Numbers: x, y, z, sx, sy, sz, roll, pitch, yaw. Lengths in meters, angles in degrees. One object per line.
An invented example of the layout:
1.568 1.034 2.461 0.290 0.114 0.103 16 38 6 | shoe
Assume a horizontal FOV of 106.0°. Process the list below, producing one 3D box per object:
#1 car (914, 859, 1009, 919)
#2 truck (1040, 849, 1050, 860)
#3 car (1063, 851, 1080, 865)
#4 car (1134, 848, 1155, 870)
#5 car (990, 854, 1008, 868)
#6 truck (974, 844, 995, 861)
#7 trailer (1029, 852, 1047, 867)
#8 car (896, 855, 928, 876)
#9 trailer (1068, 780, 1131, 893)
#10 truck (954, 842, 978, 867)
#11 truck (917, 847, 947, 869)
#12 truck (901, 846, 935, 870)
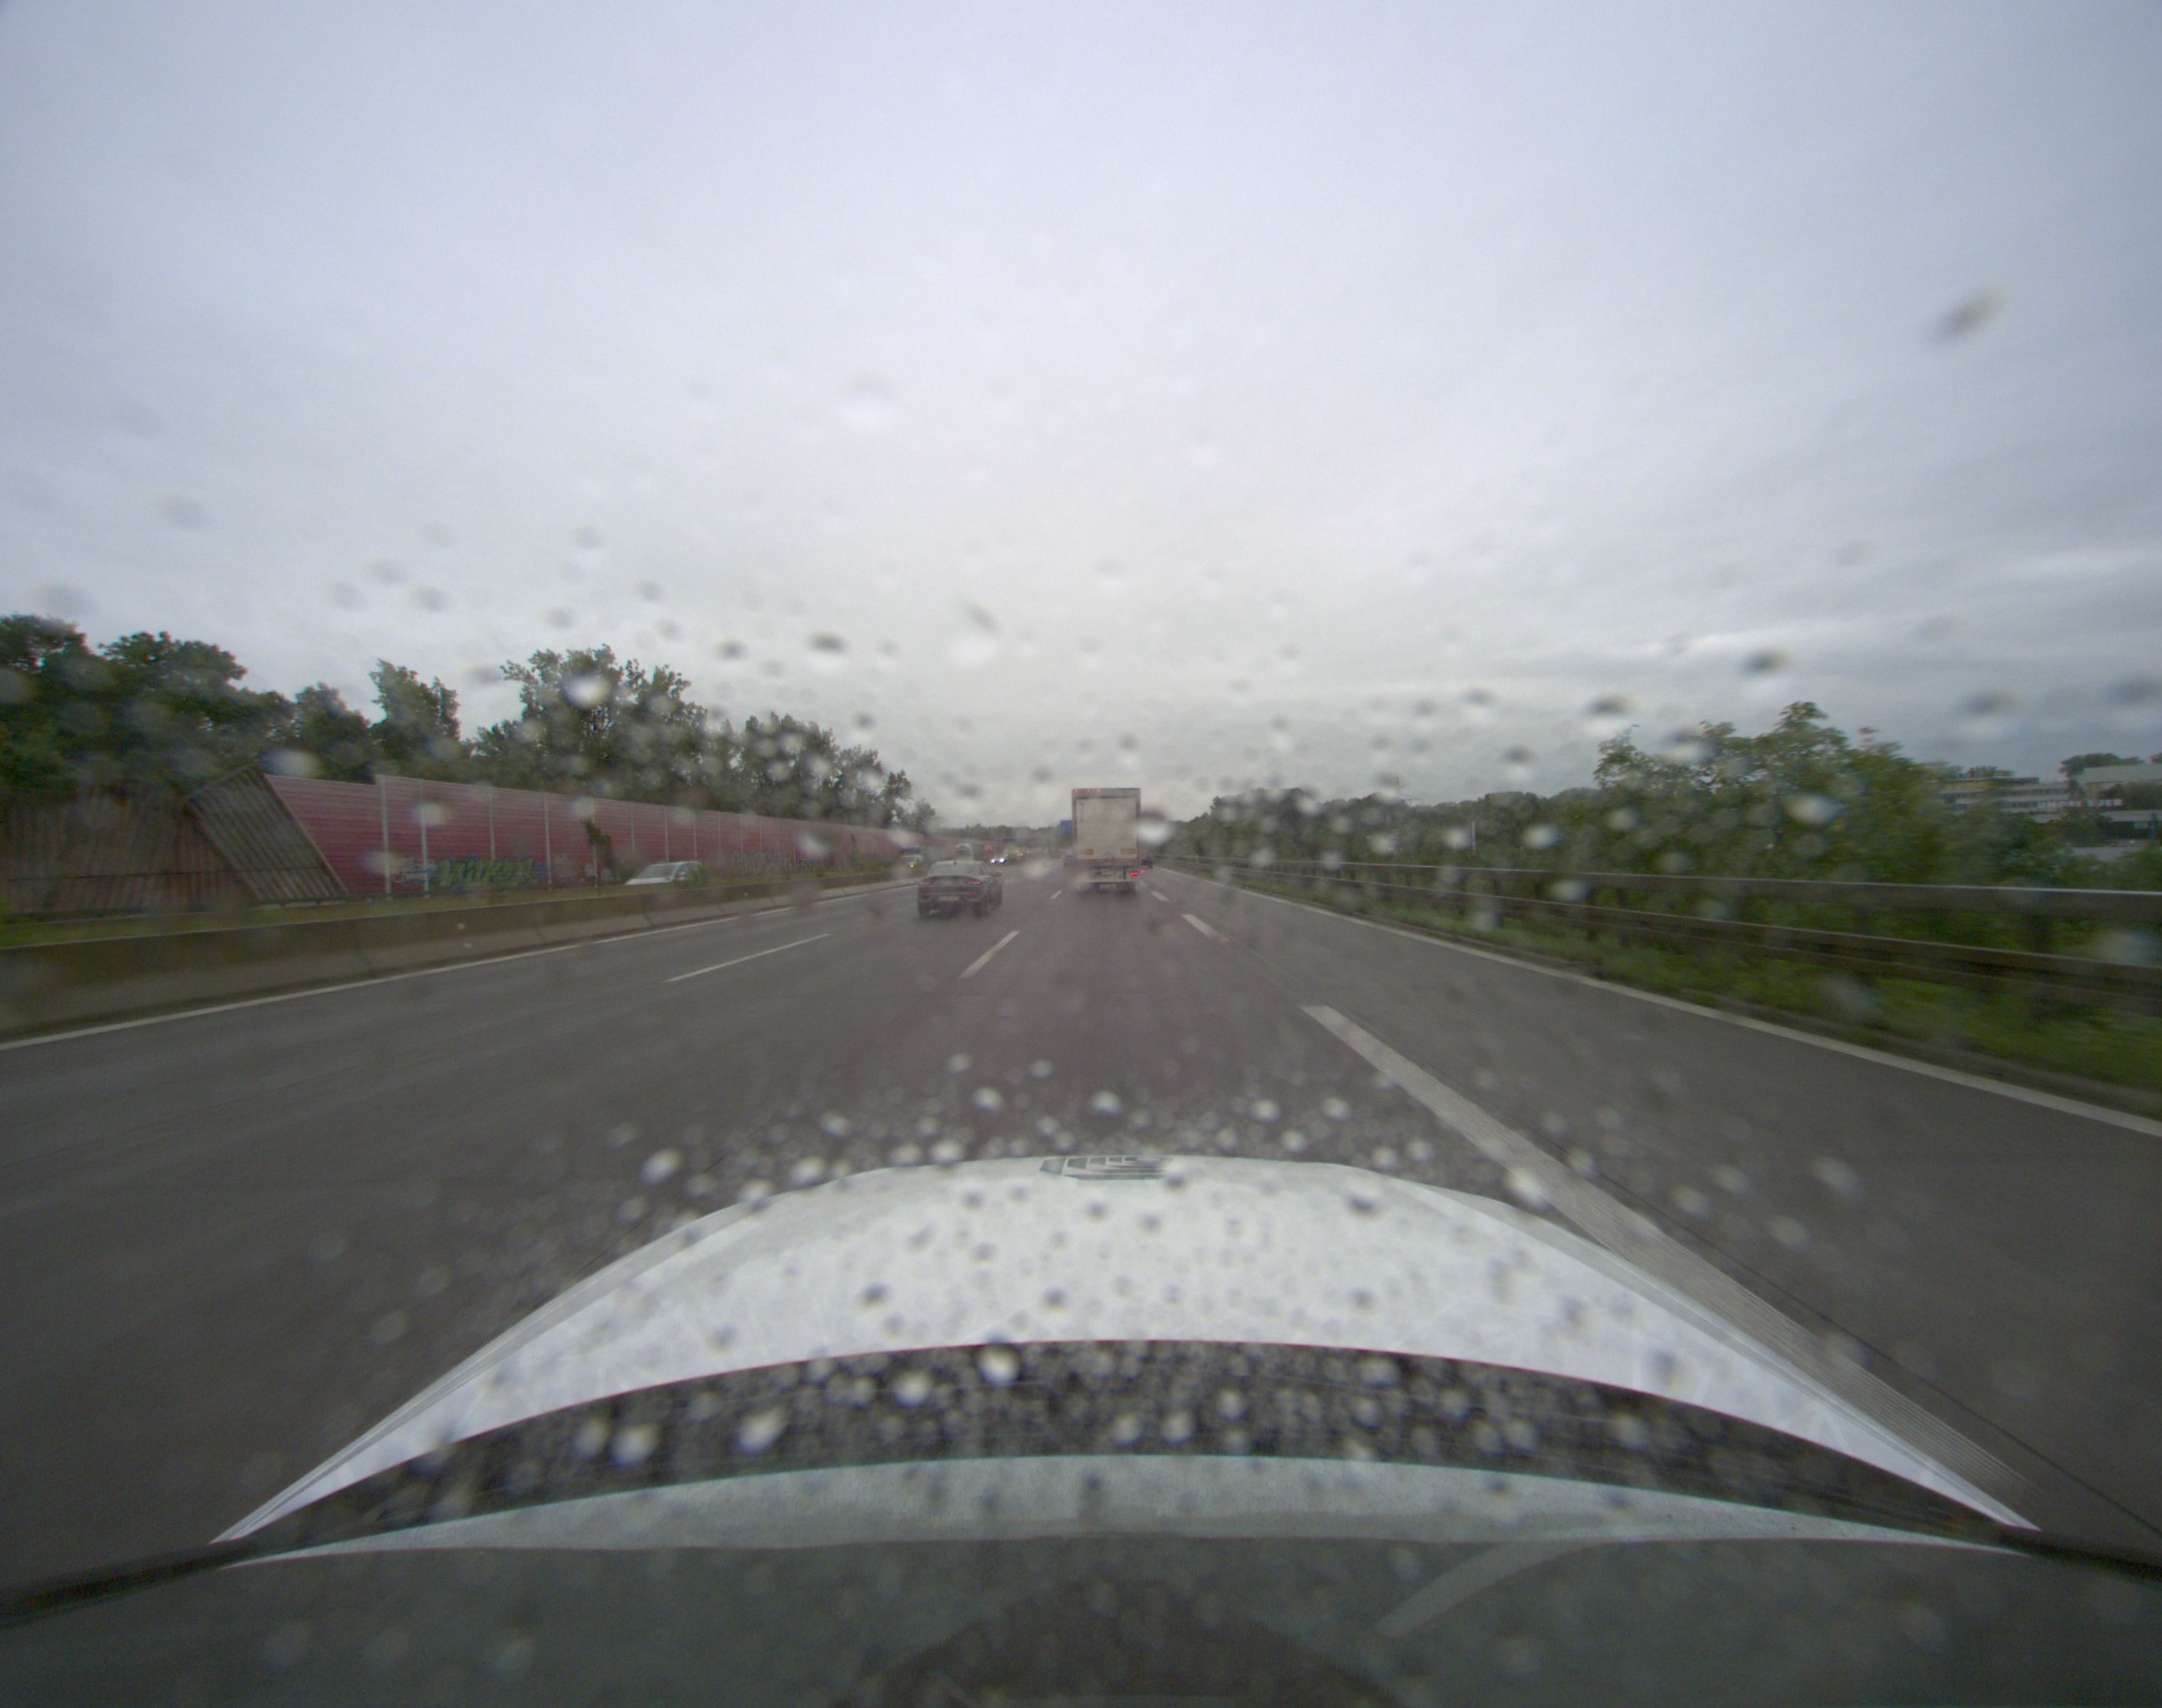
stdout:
-3.123 0.874 22.205 1.719 1.403 4.830 -1 0 1 | car
-9.497 0.151 214.692 2.258 2.828 7.281 0 0 1 | truck
-1.195 0.512 101.362 1.887 1.723 4.001 0 0 1 | car
5.925 0.463 76.238 1.889 1.949 4.003 0 0 3 | car
-12.224 0.959 121.691 1.986 2.013 4.792 -1 0 1 | car
-19.645 -0.315 166.987 2.771 3.490 10.619 -2 0 1 | truck
-5.102 0.619 97.418 1.808 1.624 4.570 -1 0 2 | trailer
-17.254 1.186 83.271 1.986 2.013 5.136 -1 0 2 | car
0.898 -0.718 37.588 2.334 4.157 14.833 0 1 2 | trailer
-19.121 0.042 135.413 3.035 4.027 6.052 0 0 1 | truck
-23.312 0.541 127.568 2.962 3.350 8.701 0 0 1 | truck
-23.465 0.563 117.984 2.703 3.350 10.433 0 0 1 | truck
